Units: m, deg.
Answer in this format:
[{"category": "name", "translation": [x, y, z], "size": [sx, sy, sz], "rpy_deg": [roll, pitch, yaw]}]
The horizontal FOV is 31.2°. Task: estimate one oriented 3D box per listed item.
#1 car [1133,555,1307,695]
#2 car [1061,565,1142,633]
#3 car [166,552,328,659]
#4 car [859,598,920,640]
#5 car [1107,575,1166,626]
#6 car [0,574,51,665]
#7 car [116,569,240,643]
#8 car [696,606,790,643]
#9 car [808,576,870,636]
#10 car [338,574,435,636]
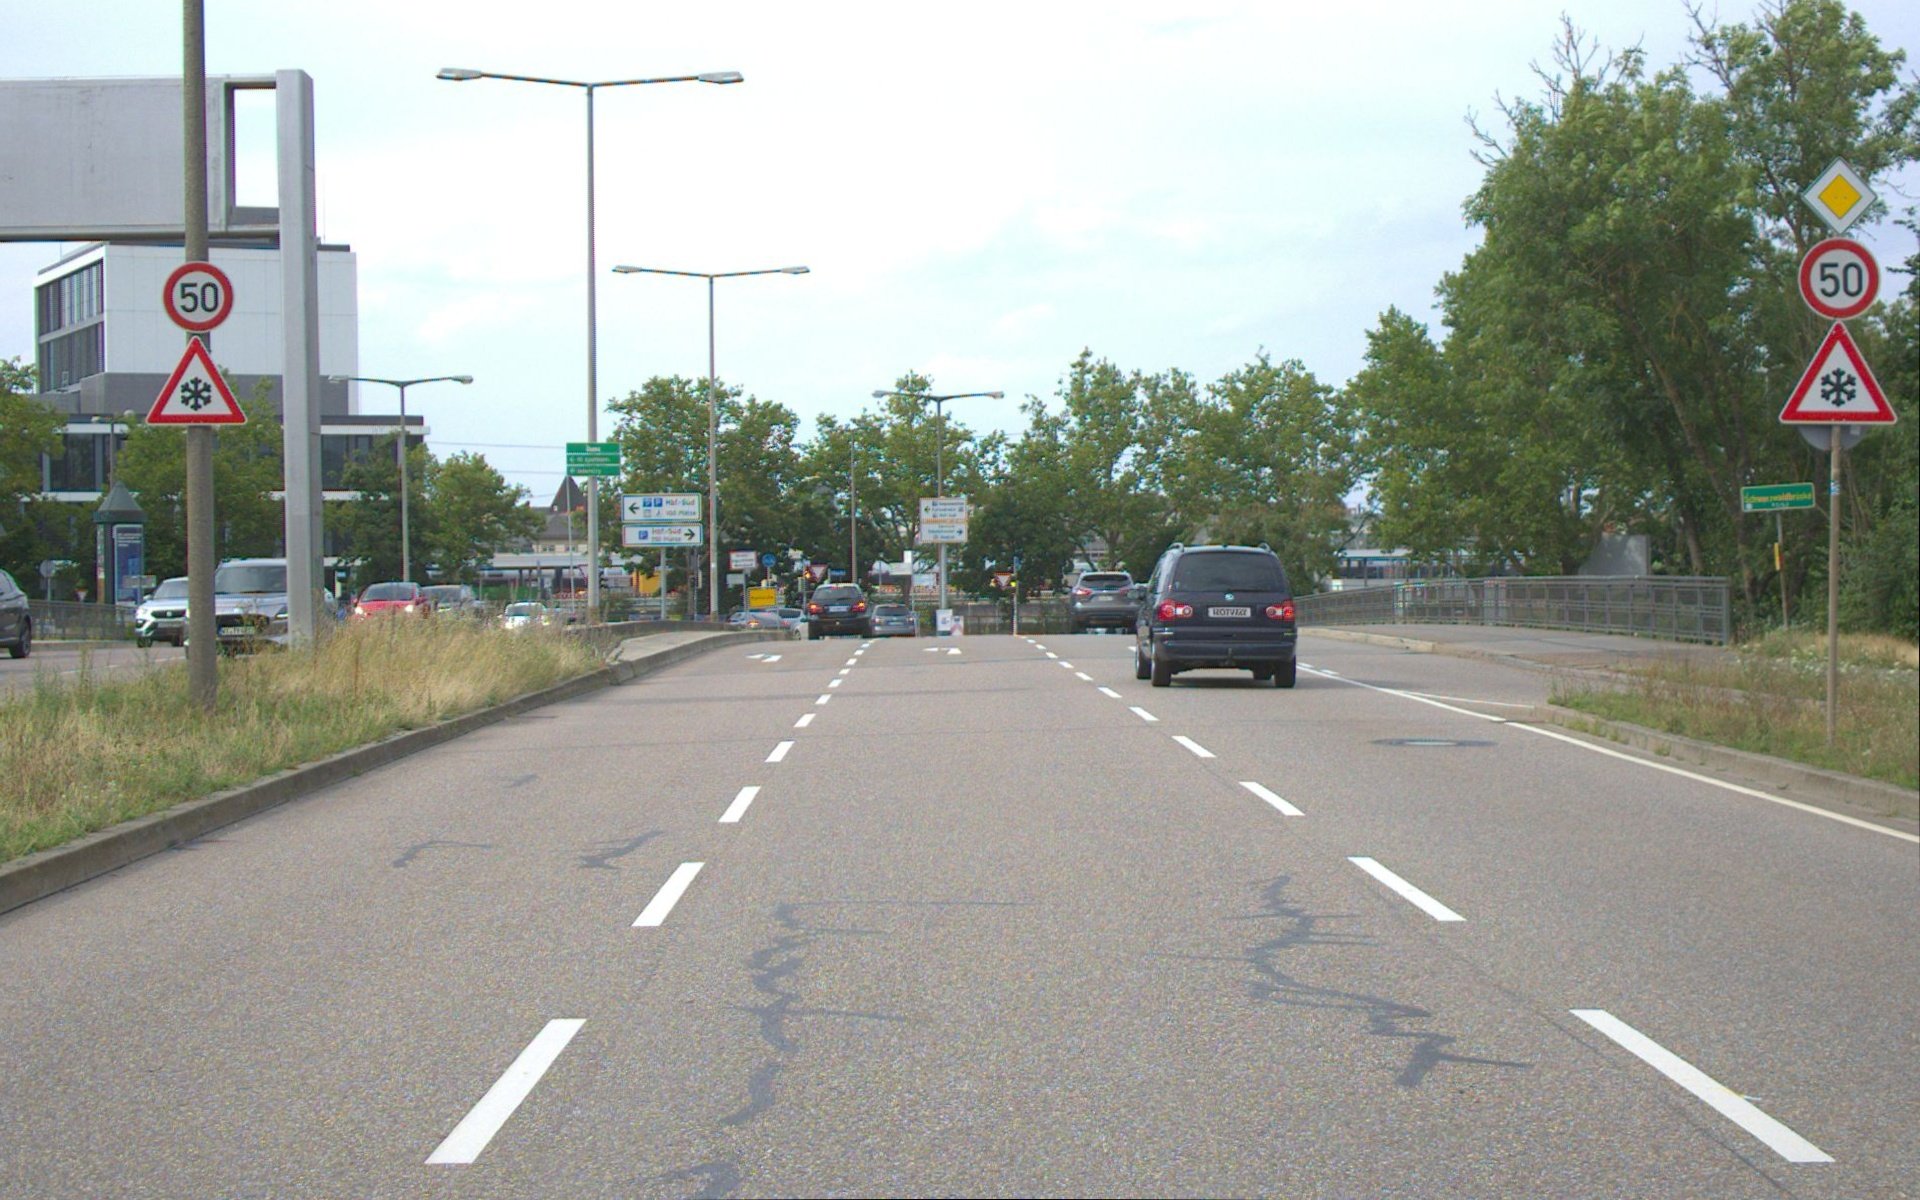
[{"category": "car", "translation": [3.195, 0.276, 42.915], "size": [1.730, 1.647, 4.115], "rpy_deg": [0, 1, -2]}, {"category": "car", "translation": [3.559, -0.043, 86.994], "size": [1.730, 1.647, 4.115], "rpy_deg": [0, 1, -2]}, {"category": "car", "translation": [-10.345, 0.062, 50.115], "size": [1.694, 1.481, 3.861], "rpy_deg": [0, 0, -2]}, {"category": "car", "translation": [-2.734, 0.720, 132.505], "size": [1.730, 1.521, 4.116], "rpy_deg": [0, 1, -10]}, {"category": "car", "translation": [5.359, 0.009, 104.465], "size": [1.507, 1.442, 3.140], "rpy_deg": [1, 1, -2]}, {"category": "car", "translation": [-16.988, 0.360, 58.585], "size": [1.792, 1.520, 4.594], "rpy_deg": [-2, 0, -1]}, {"category": "car", "translation": [-17.263, 0.141, 76.060], "size": [1.792, 1.520, 4.188], "rpy_deg": [-2, 0, -1]}, {"category": "car", "translation": [-8.624, 0.965, 136.528], "size": [3.630, 1.414, 1.732], "rpy_deg": [1, 1, 43]}, {"category": "car", "translation": [-3.488, 0.151, 99.038], "size": [1.730, 1.647, 4.115], "rpy_deg": [0, 1, -2]}, {"category": "car", "translation": [-14.223, 0.120, 85.452], "size": [1.792, 1.436, 3.798], "rpy_deg": [-2, 0, -1]}]
